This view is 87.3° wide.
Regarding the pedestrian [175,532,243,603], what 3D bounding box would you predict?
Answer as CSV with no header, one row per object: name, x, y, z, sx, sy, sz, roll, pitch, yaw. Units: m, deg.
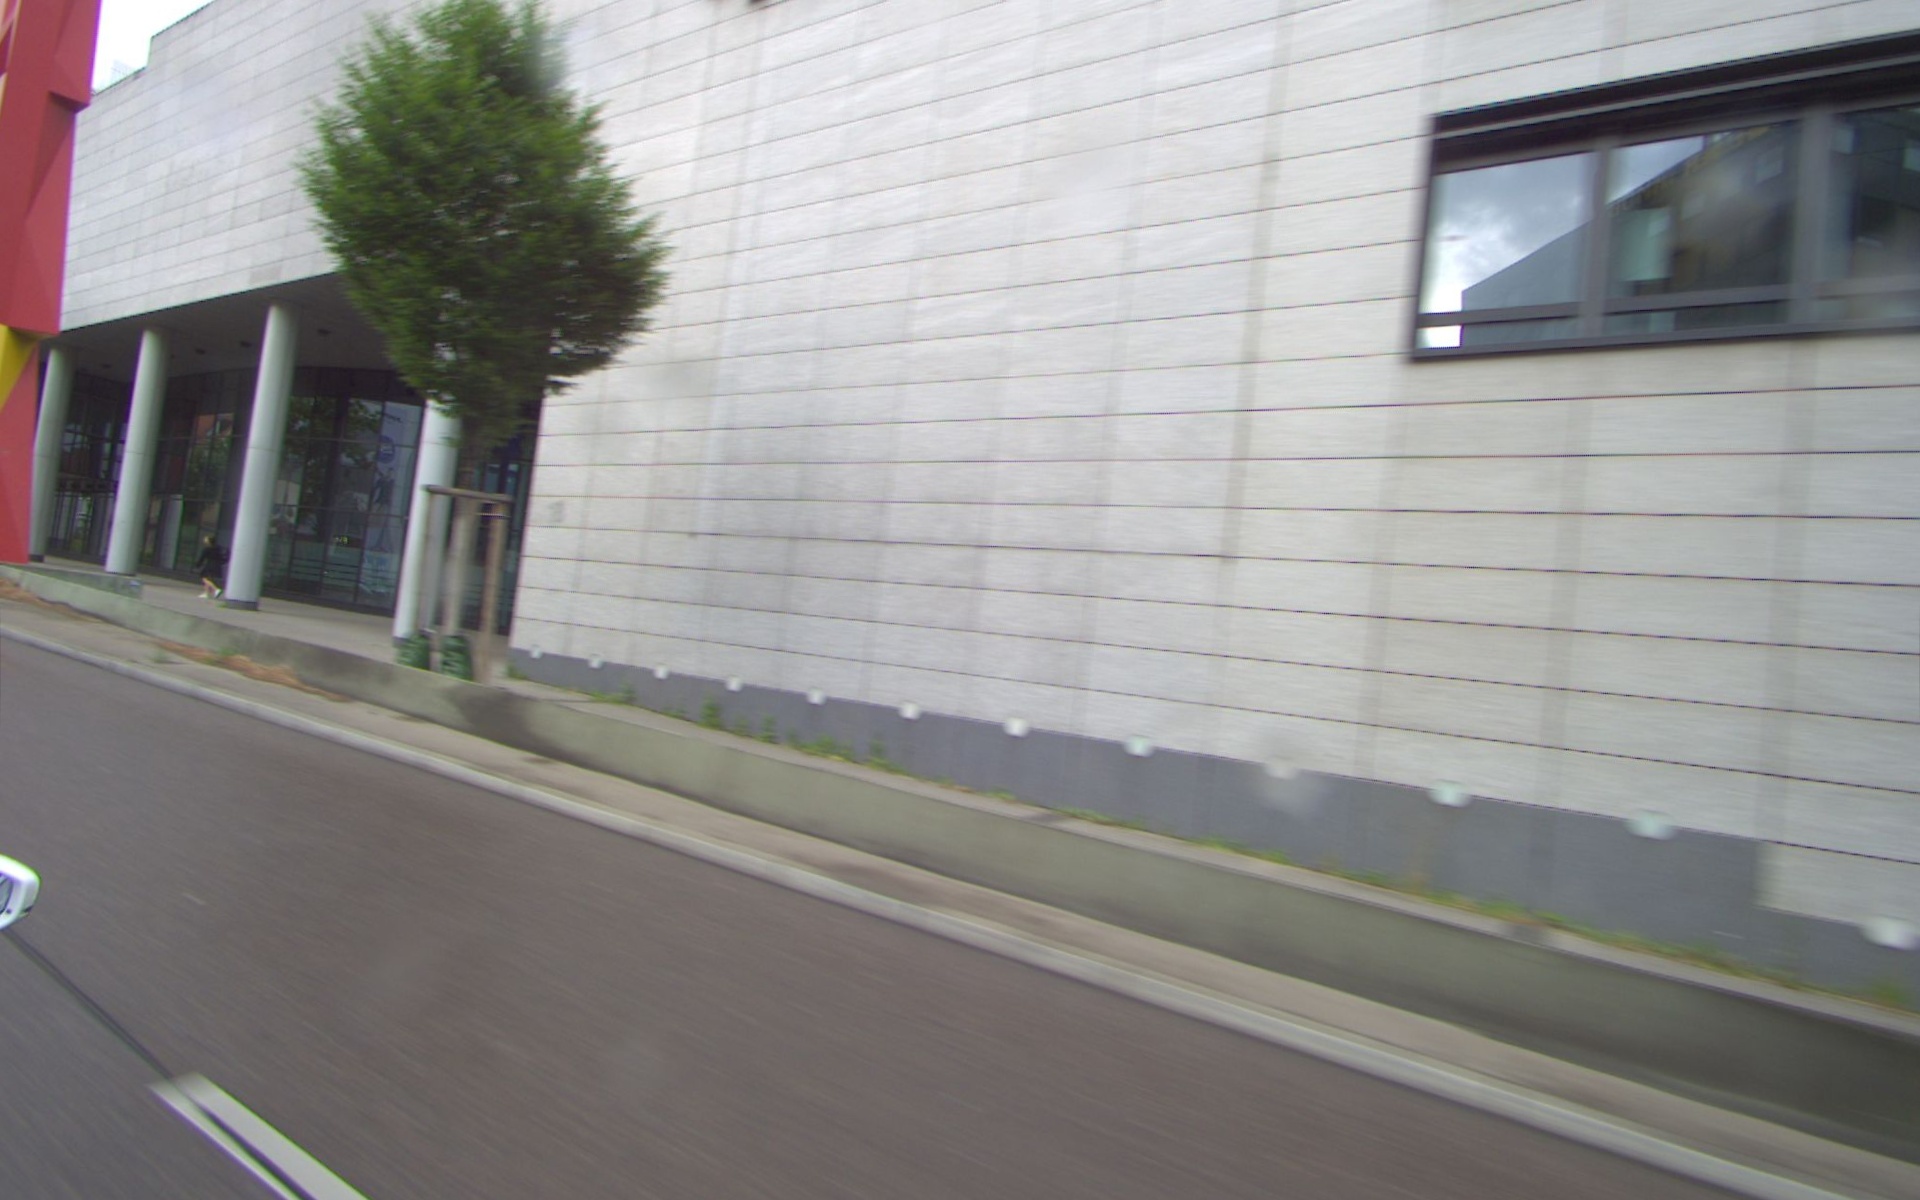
pedestrian,-19.127,-0.821,25.618,0.828,1.605,0.972,7,-1,28
